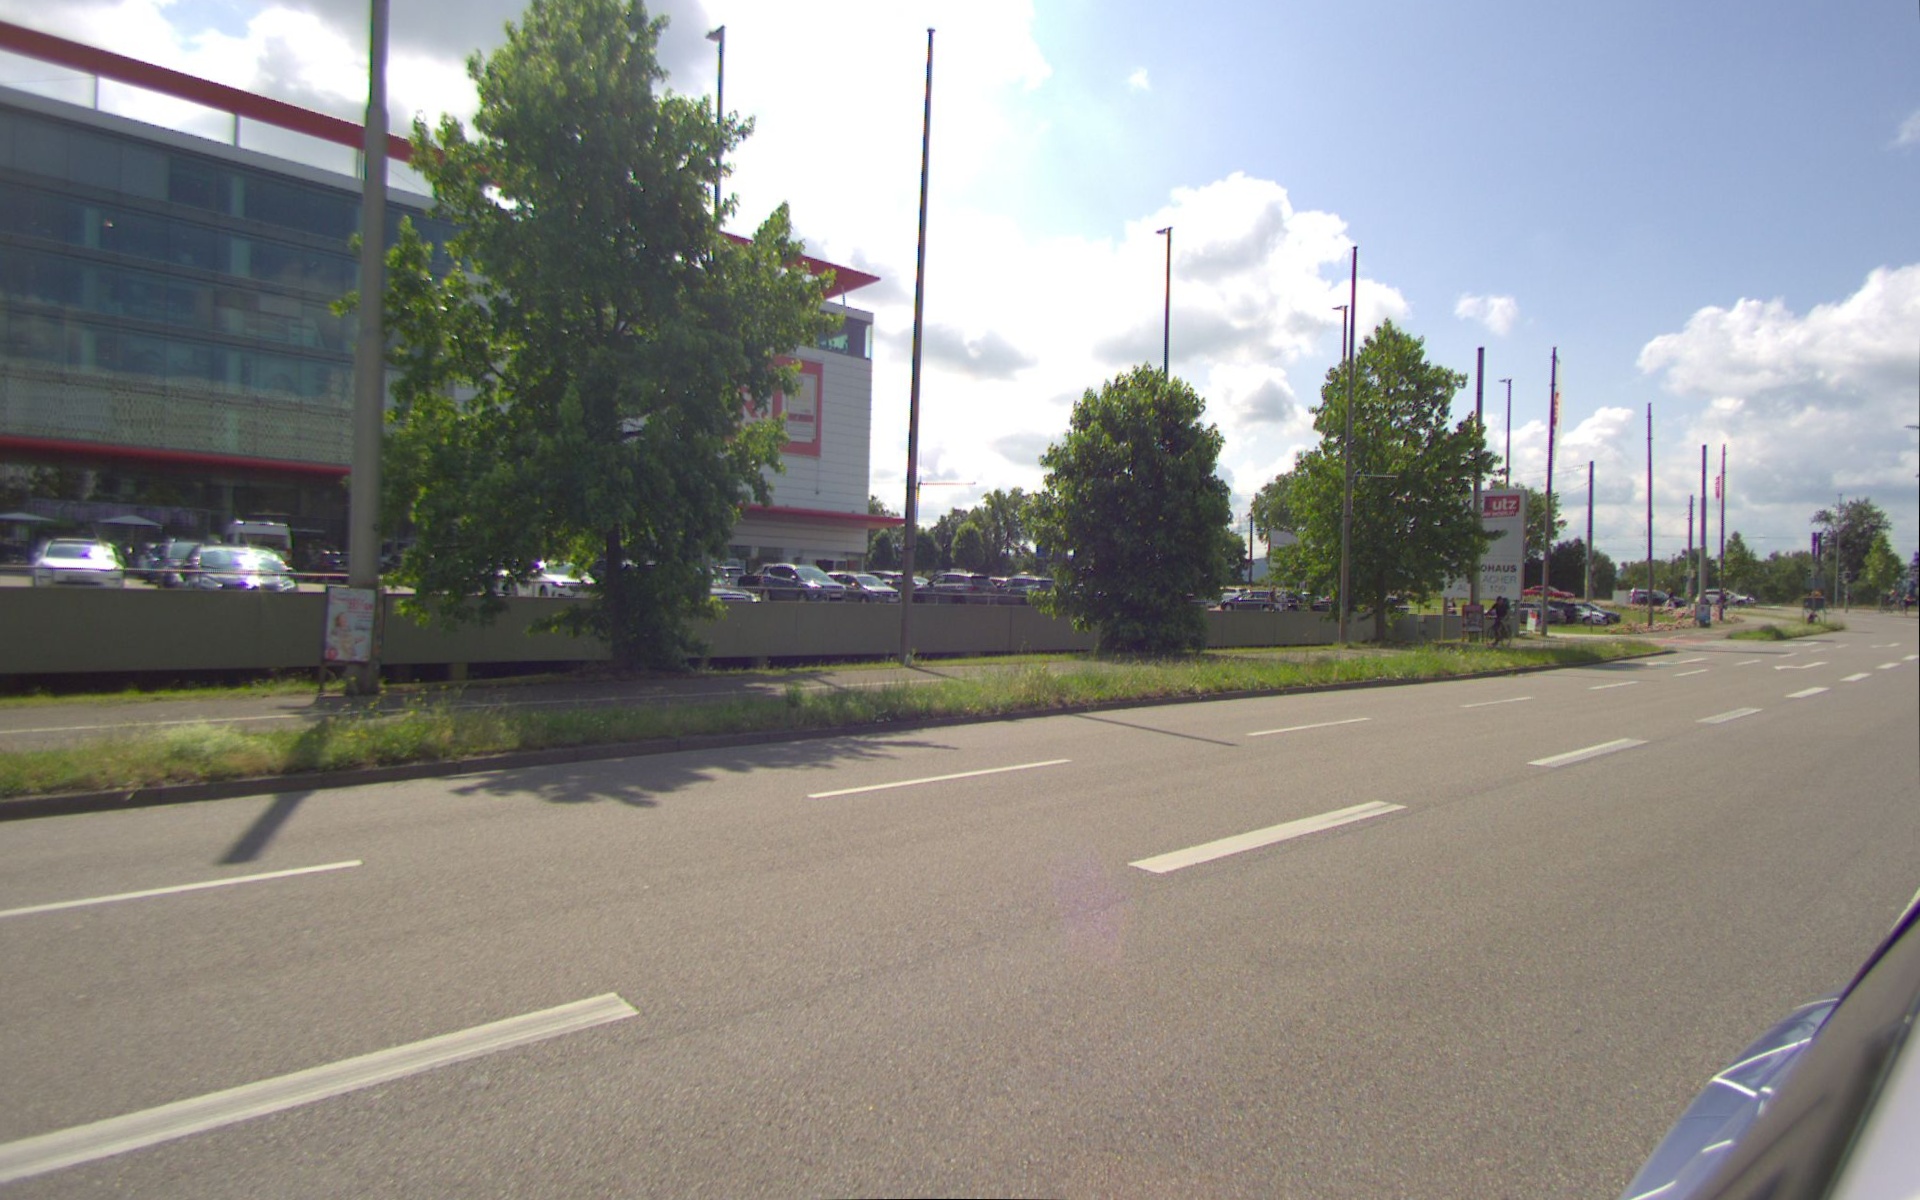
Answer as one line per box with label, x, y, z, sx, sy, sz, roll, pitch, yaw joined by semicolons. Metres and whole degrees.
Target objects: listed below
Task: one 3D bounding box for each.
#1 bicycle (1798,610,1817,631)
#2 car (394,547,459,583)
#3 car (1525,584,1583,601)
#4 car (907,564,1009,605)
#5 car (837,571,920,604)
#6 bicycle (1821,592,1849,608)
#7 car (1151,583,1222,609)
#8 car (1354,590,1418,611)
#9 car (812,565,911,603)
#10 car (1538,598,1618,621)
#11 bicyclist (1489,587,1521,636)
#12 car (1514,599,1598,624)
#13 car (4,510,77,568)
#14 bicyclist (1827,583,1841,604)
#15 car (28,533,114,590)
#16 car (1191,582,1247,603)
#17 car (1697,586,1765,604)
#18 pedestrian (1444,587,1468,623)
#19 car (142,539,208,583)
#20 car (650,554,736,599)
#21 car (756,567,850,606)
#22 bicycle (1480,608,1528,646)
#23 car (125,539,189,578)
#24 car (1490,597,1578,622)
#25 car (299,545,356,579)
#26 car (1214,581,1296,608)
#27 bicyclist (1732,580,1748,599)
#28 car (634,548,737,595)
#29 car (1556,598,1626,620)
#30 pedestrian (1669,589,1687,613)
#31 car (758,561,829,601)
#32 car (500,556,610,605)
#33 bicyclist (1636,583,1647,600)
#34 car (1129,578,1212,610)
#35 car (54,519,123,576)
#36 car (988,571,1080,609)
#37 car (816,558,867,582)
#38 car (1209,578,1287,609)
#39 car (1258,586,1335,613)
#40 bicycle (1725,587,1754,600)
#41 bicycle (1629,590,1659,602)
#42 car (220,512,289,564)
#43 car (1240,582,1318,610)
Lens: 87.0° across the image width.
bicycle;40.159;0.958;47.948;1.517;0.964;0.518;0;0;-42
car;-23.302;-1.504;44.146;1.600;1.438;3.993;2;0;-41
car;54.454;-0.695;92.791;4.237;1.377;1.721;3;3;45
car;-0.146;-0.702;44.086;1.995;1.593;4.365;2;1;-42
car;-3.914;-0.608;48.222;1.730;1.482;4.245;2;0;-42
bicycle;67.317;-0.021;77.840;1.490;1.180;0.615;1;-1;26
car;14.363;-0.262;64.295;1.794;1.527;4.156;2;0;-41
car;34.714;0.051;82.517;2.012;1.426;4.370;2;2;-39
car;-4.100;-0.672;41.483;1.734;1.341;4.365;2;1;-42
car;42.467;0.608;69.616;1.765;1.458;4.367;0;1;-41
bicyclist;16.422;0.342;30.515;0.702;1.430;0.616;2;0;-41
car;38.781;0.719;65.944;1.824;1.434;4.366;0;1;-41
car;-35.838;-2.325;39.537;1.965;2.039;3.994;2;0;-41
bicyclist;67.249;-0.511;77.887;0.690;1.555;0.615;1;-1;26
car;-25.067;-1.098;28.558;1.696;1.452;4.191;2;1;-42
car;21.873;-0.647;85.434;1.822;1.607;4.231;2;1;-43
car;67.651;-0.480;88.806;1.981;1.430;4.486;1;2;-44
pedestrian;25.443;0.238;51.923;0.857;1.805;0.783;1;-1;6
car;-29.494;-1.418;37.982;1.713;1.535;3.801;2;0;-41
car;-11.155;-0.982;42.134;1.762;1.750;3.992;2;0;-43
car;-6.203;-0.550;39.742;1.658;1.341;4.192;1;2;-41
bicycle;16.416;0.806;30.519;1.933;1.081;0.624;1;1;-41
car;-32.828;-1.644;41.340;1.877;1.452;3.801;2;0;-41
car;35.474;0.586;62.630;1.823;1.495;4.367;0;0;-39
car;-28.828;-1.683;46.101;1.600;1.438;3.573;2;0;-41
car;17.568;-0.353;60.328;1.816;1.379;4.365;0;3;-43
bicyclist;61.451;-0.835;79.720;0.730;1.494;0.650;1;-1;7
car;-9.967;-1.012;36.648;1.967;1.590;3.991;0;1;-43
car;45.519;0.605;73.091;1.687;1.436;3.992;0;1;-43
pedestrian;56.101;0.063;79.063;0.864;1.786;0.848;6;1;45
car;-9.013;-1.012;54.553;1.965;2.039;3.994;2;0;-41
car;-13.293;-0.660;33.079;1.861;1.406;4.188;2;1;-44
bicyclist;55.714;-0.689;82.754;0.684;1.342;0.584;1;-1;38
car;11.155;-0.346;53.830;1.714;1.550;4.057;0;3;-45
car;-31.105;-1.814;36.209;1.743;1.861;3.892;2;0;-40
car;3.400;-0.505;47.085;1.734;1.572;4.189;2;1;-42
car;-9.164;-2.265;77.941;1.966;1.745;3.992;2;0;-43
car;16.611;-0.388;58.453;1.666;1.608;4.020;2;0;-42
car;21.134;-0.055;63.697;1.652;1.527;4.369;1;2;-39
bicycle;61.417;-0.485;79.720;1.666;0.973;0.665;1;-1;6
bicycle;55.840;-0.333;82.639;1.977;0.973;0.588;1;-1;39
car;-30.160;-2.586;43.241;1.965;1.976;3.994;2;0;-41
car;19.539;-0.271;62.198;1.597;1.460;4.369;2;1;-39
